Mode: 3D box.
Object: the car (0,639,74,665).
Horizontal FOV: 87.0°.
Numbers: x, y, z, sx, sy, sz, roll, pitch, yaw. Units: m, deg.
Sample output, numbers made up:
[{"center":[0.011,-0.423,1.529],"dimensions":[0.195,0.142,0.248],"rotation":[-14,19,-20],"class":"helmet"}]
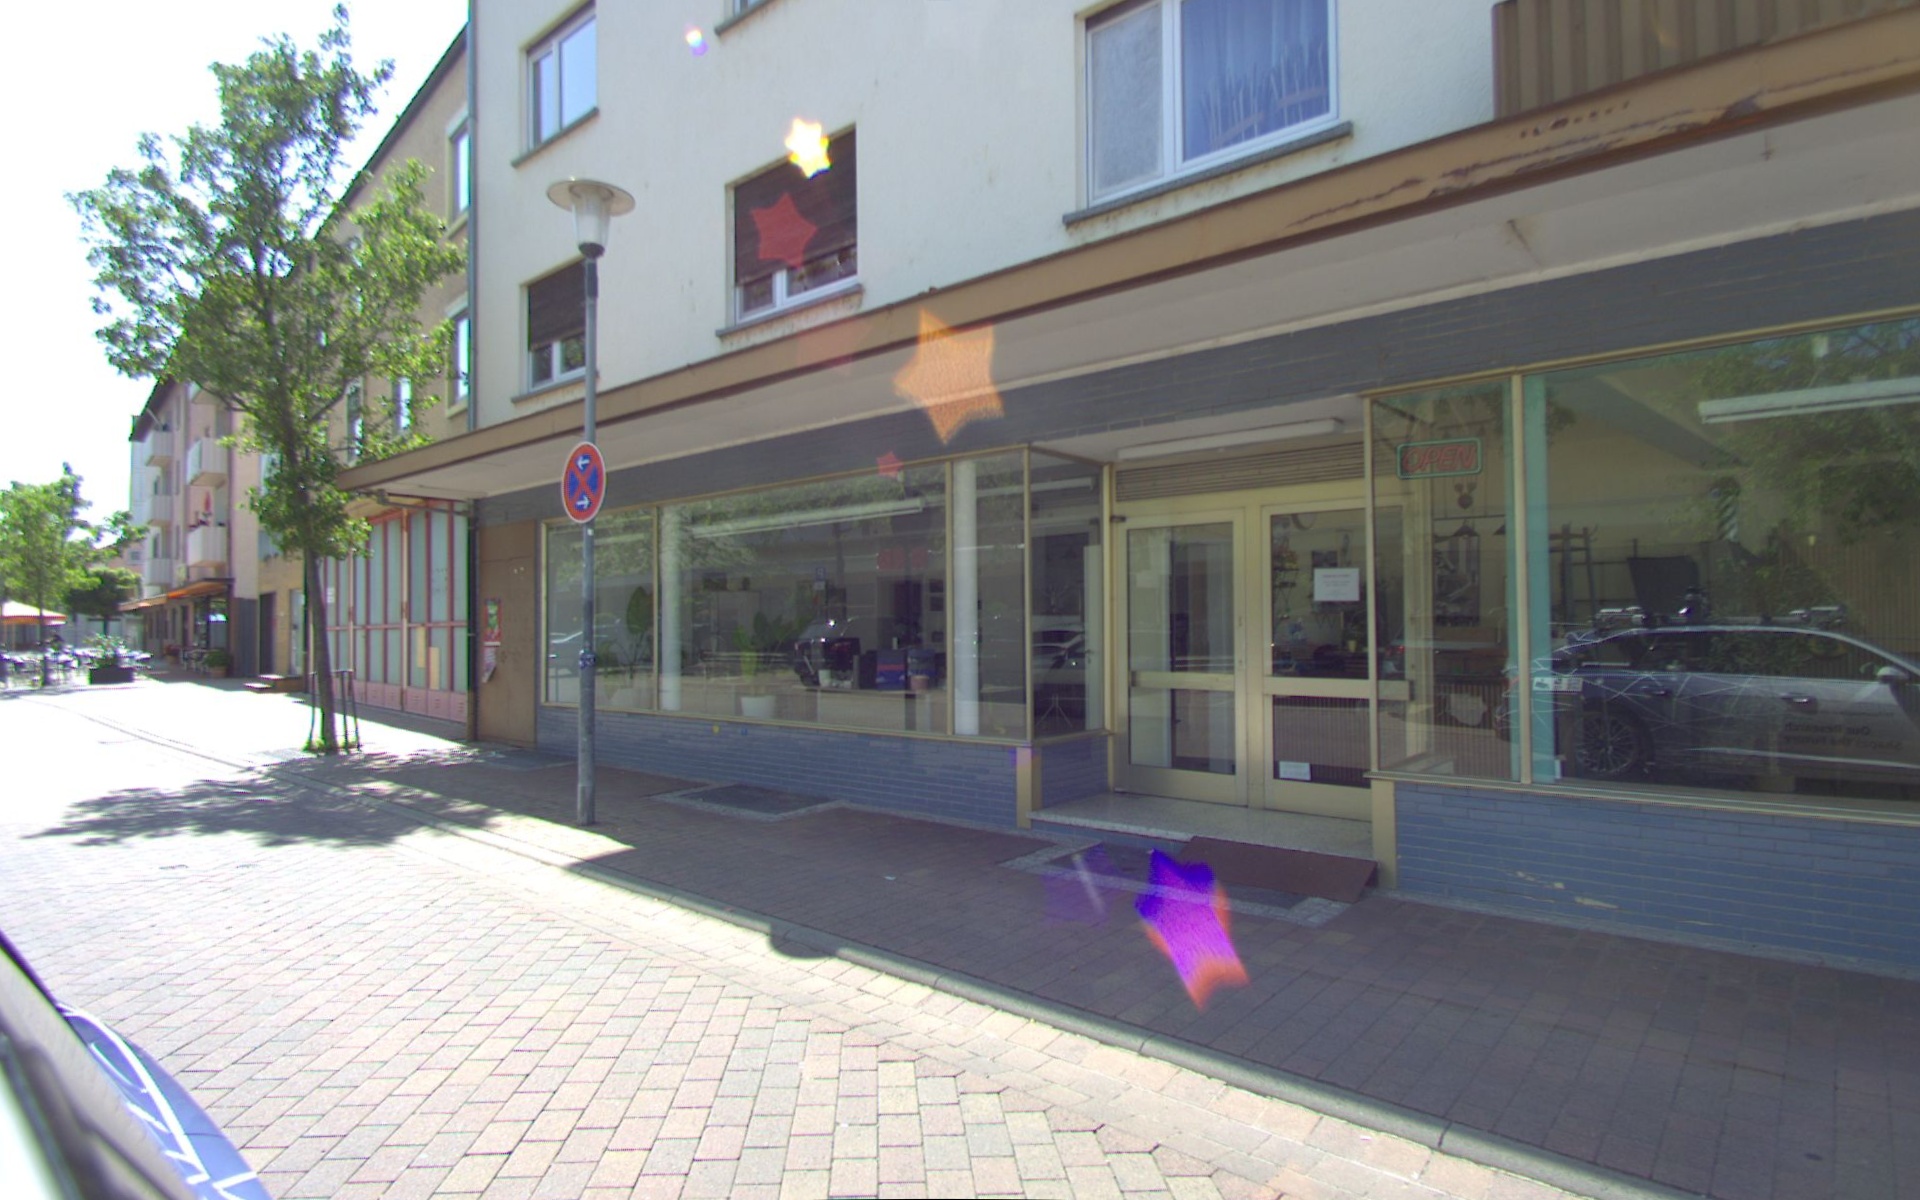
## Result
[{"center":[-54.668,3.032,59.138],"dimensions":[4.274,1.479,1.778],"rotation":[1,-2,-43],"class":"car"}]
